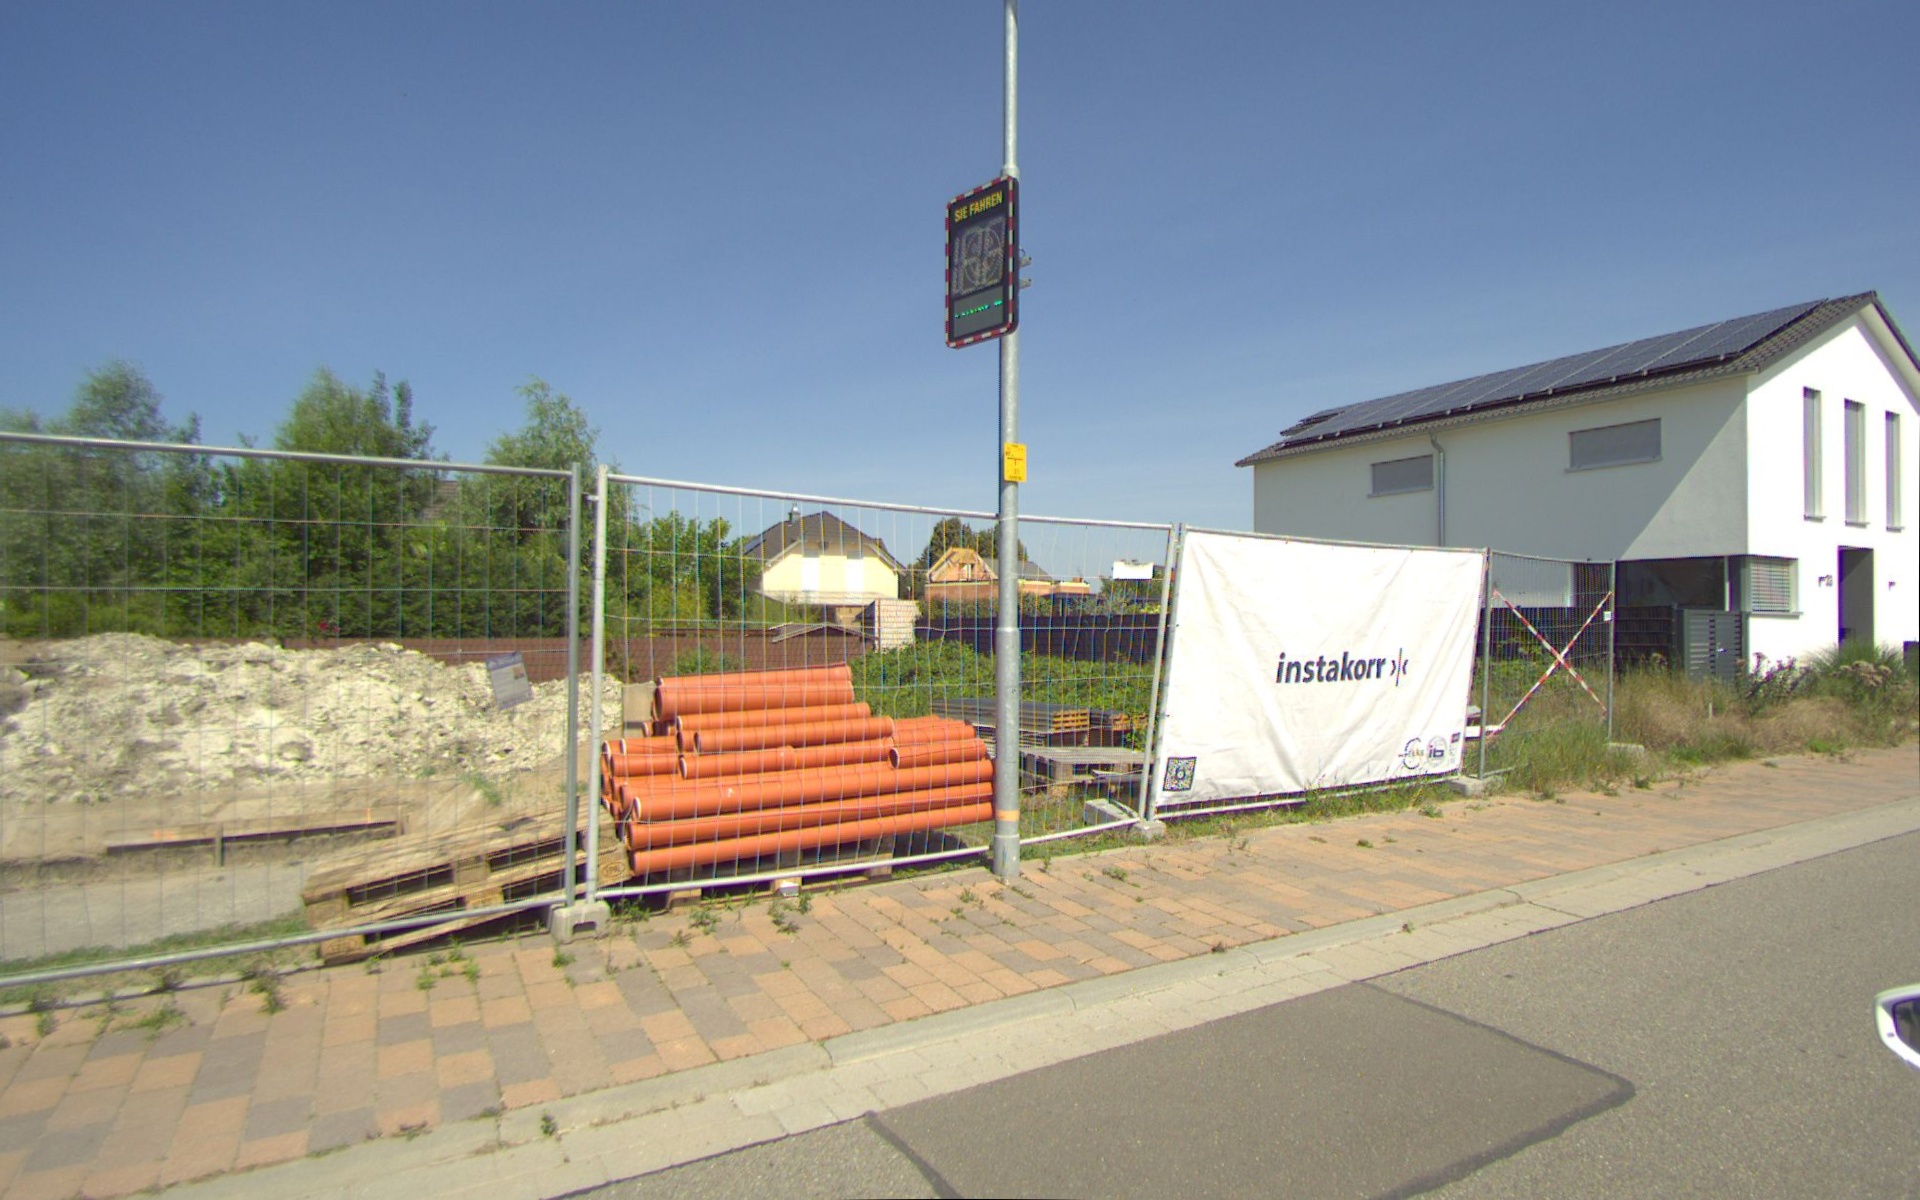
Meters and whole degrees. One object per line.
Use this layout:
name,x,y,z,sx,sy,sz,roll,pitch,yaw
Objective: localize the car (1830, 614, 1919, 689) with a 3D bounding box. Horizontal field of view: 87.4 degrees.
car,22.037,1.152,22.076,1.759,1.602,4.057,0,0,-24
